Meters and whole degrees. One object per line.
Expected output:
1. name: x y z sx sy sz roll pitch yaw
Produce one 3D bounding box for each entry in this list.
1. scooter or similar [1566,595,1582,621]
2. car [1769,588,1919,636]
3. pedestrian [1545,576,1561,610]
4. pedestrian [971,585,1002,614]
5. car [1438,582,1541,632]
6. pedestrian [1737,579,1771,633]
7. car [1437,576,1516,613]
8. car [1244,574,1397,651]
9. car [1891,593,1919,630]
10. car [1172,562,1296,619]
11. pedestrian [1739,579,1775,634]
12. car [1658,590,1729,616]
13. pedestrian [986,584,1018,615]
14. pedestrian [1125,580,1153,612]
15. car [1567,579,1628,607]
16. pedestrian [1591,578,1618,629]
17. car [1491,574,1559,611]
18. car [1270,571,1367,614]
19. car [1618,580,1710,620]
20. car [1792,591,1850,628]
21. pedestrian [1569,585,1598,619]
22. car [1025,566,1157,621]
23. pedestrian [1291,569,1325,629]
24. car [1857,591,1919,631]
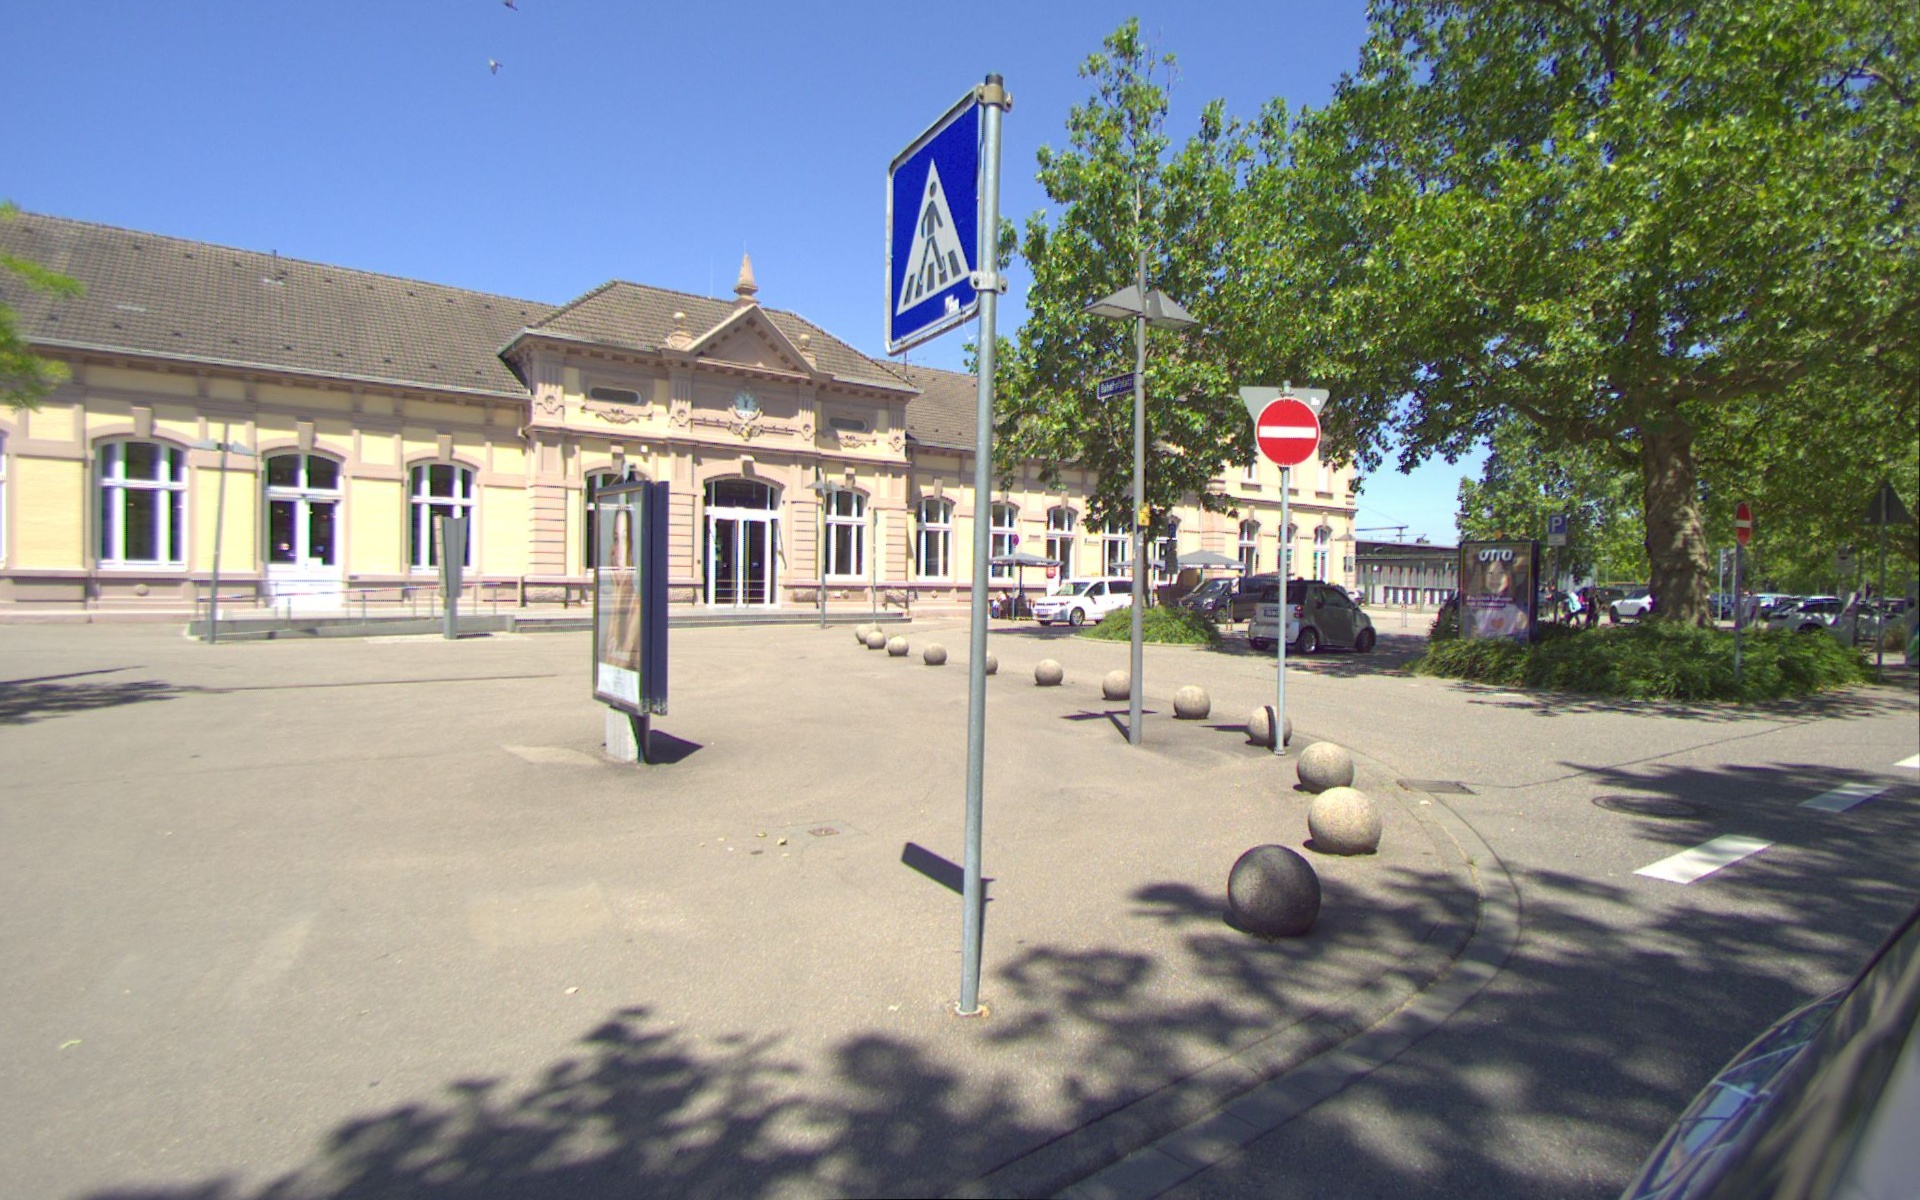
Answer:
1. scooter or similar: 26.575 0.340 43.798 0.430 1.115 0.402 1 0 7
2. car: 29.313 0.374 32.761 4.747 1.434 1.764 1 1 35
3. pedestrian: 34.785 -0.395 59.351 0.606 2.015 0.627 0 -1 -41
4. pedestrian: 1.045 -0.024 40.234 0.837 1.093 0.881 0 2 -40
5. car: 18.865 0.196 36.278 1.770 1.562 4.523 -1 2 7
6. pedestrian: 27.074 0.191 34.531 0.833 1.792 0.841 1 1 35
7. car: 27.518 -0.286 53.805 5.227 1.864 2.000 0 -1 -42
8. car: 8.059 0.243 22.601 3.043 1.613 1.604 0 1 -29
9. car: 40.573 0.489 40.999 3.837 1.478 1.622 1 1 26
10. car: 11.239 -0.350 41.223 5.725 2.151 2.090 1 0 -42
11. pedestrian: 26.507 0.192 33.675 0.833 1.792 0.842 1 1 33
12. car: 43.491 0.143 60.055 1.771 1.420 3.510 1 1 4
13. pedestrian: 1.639 -0.024 39.503 0.837 1.176 0.881 0 2 -40
14. pedestrian: 8.100 -0.190 45.798 0.837 1.388 0.881 0 2 -40
15. car: 42.707 -0.486 67.743 4.167 1.812 1.999 -1 0 -35
16. pedestrian: 20.463 0.103 32.127 0.587 1.567 0.602 2 2 40
17. car: 32.406 -0.404 58.013 4.523 2.015 2.000 0 -1 -42
18. car: 16.225 -0.306 45.696 4.756 1.864 2.077 1 0 -42
19. car: 31.864 -0.050 45.951 1.771 1.624 4.056 -1 2 8
20. car: 48.232 0.488 56.788 1.724 1.917 3.958 1 1 30
21. pedestrian: 26.620 0.085 43.217 0.788 1.442 0.689 1 1 8
22. car: 4.865 -0.209 37.011 5.045 1.889 1.813 1 0 -39
23. pedestrian: 10.350 -0.036 30.121 0.760 1.738 0.813 1 1 7
24. car: 37.639 0.438 39.323 3.837 1.478 1.622 1 1 26
